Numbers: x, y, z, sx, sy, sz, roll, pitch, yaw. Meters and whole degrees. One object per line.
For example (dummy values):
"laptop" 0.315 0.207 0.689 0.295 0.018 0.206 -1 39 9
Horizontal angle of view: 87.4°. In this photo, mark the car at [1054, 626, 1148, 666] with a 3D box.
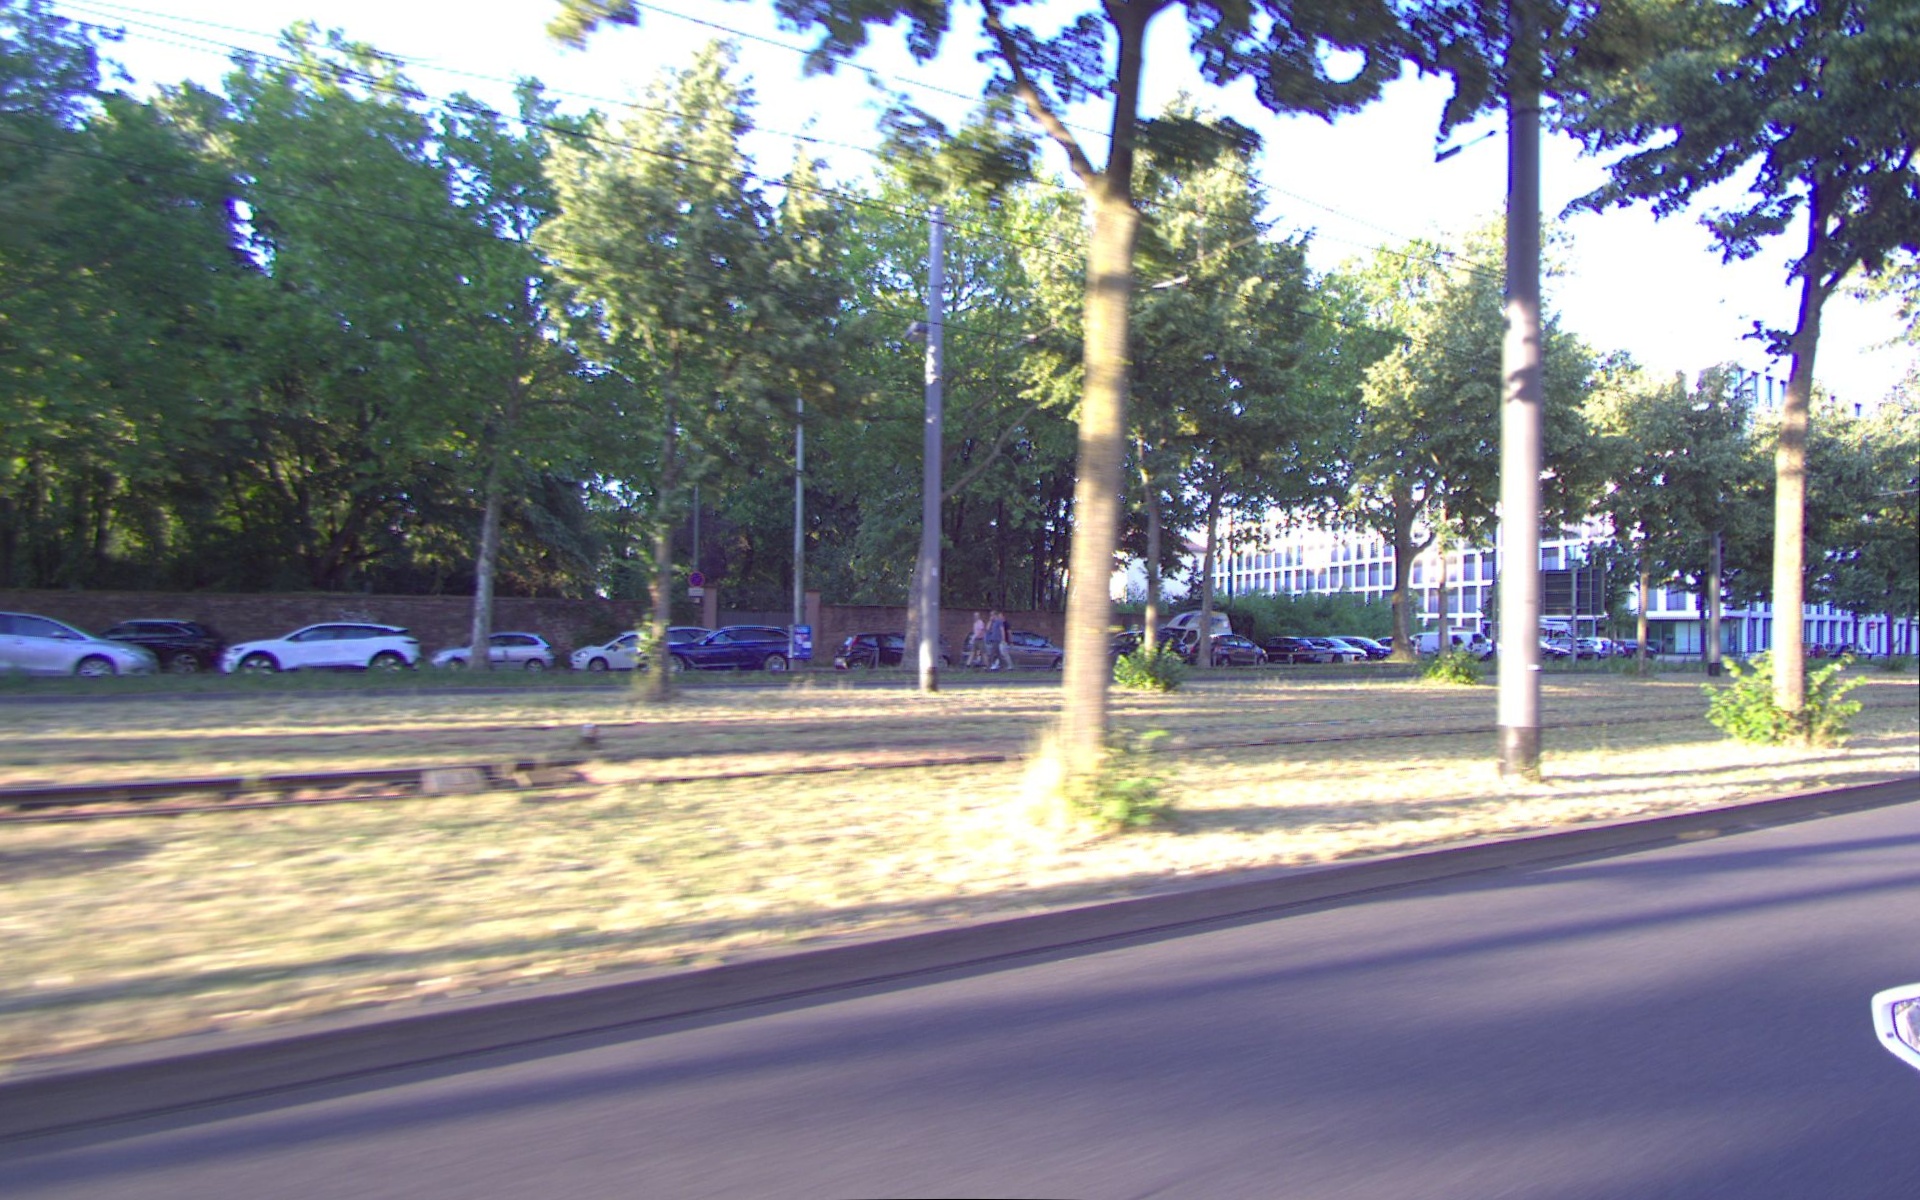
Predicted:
"car" 6.510 2.112 46.446 3.954 1.773 1.984 2 -2 -31

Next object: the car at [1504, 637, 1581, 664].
"car" 37.831 3.244 65.299 1.902 1.661 3.964 2 -2 -33

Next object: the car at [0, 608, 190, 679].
"car" -20.458 0.978 22.738 4.502 1.518 1.985 2 -2 -30

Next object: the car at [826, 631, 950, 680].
"car" -2.423 1.863 33.969 3.785 1.581 1.798 2 -2 -25

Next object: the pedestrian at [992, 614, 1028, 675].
"pedestrian" 1.574 1.390 31.486 0.858 1.895 0.688 2 -2 -38

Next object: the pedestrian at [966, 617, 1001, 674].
"pedestrian" 0.742 1.428 31.869 0.858 1.782 0.688 2 -2 -38

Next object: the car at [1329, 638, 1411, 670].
"car" 23.201 3.049 56.997 1.902 1.661 3.964 2 -2 -33

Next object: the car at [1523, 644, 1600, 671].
"car" 39.816 3.766 66.567 1.902 1.661 3.964 2 -2 -33

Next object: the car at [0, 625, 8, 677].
"car" -29.778 1.433 28.187 3.997 1.511 1.854 2 -2 -27

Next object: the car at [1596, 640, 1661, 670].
"car" 47.625 3.929 71.549 4.875 2.040 1.984 2 -2 -31

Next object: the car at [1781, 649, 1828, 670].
"car" 68.069 4.753 80.986 3.450 1.602 1.852 2 -2 -29

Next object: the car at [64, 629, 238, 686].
"car" -24.525 1.734 30.646 3.789 1.617 1.759 2 -2 -27

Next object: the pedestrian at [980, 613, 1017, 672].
"pedestrian" 1.168 1.296 30.609 0.857 1.766 0.689 2 -2 -32

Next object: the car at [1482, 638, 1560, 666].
"car" 35.719 3.318 64.054 1.902 1.661 3.964 2 -2 -33

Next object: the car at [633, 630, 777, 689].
"car" -8.079 1.867 31.820 4.104 1.773 1.988 2 -2 -25

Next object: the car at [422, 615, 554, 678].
"car" -16.090 1.599 34.480 3.944 2.040 1.989 2 -2 -24

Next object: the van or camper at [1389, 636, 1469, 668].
"van or camper" 28.027 3.093 60.102 1.984 1.814 3.954 2 -2 -40

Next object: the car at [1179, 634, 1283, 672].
"car" 11.355 2.209 42.103 3.949 1.505 1.986 2 -2 -27

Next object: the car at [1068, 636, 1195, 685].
"car" 6.718 2.354 39.112 4.736 1.773 1.984 2 -2 -31

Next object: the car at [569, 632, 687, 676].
"car" -12.145 1.959 36.692 3.943 1.505 1.989 2 -2 -23

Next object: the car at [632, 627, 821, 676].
"car" -6.840 1.515 29.517 5.075 1.332 1.987 2 -2 -27

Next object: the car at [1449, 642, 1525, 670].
"car" 32.979 3.485 62.990 1.895 1.661 3.979 2 -2 -23

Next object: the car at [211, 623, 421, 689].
"car" -15.928 1.380 25.146 4.255 1.519 1.891 2 -2 -30

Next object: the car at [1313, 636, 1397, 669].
"car" 21.382 2.814 54.511 1.898 1.661 3.971 2 -2 -28

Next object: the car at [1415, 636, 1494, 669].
"car" 30.447 3.216 61.971 1.988 1.869 3.970 2 -2 -29

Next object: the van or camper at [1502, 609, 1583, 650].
"van or camper" 46.535 2.332 80.199 6.180 3.126 2.701 2 -1 -27

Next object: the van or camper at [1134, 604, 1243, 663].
"van or camper" 11.351 1.692 49.764 5.434 2.771 2.074 2 -2 -32

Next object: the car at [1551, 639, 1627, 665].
"car" 42.108 3.467 67.316 1.902 1.661 3.964 2 -2 -33

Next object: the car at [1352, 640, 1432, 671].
"car" 25.285 3.216 58.901 1.902 1.661 3.964 2 -2 -33

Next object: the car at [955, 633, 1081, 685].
"car" 2.096 2.108 36.153 4.104 1.773 1.988 2 -2 -25

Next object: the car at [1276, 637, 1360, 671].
"car" 18.907 2.815 53.201 1.898 1.661 3.972 2 -2 -27
